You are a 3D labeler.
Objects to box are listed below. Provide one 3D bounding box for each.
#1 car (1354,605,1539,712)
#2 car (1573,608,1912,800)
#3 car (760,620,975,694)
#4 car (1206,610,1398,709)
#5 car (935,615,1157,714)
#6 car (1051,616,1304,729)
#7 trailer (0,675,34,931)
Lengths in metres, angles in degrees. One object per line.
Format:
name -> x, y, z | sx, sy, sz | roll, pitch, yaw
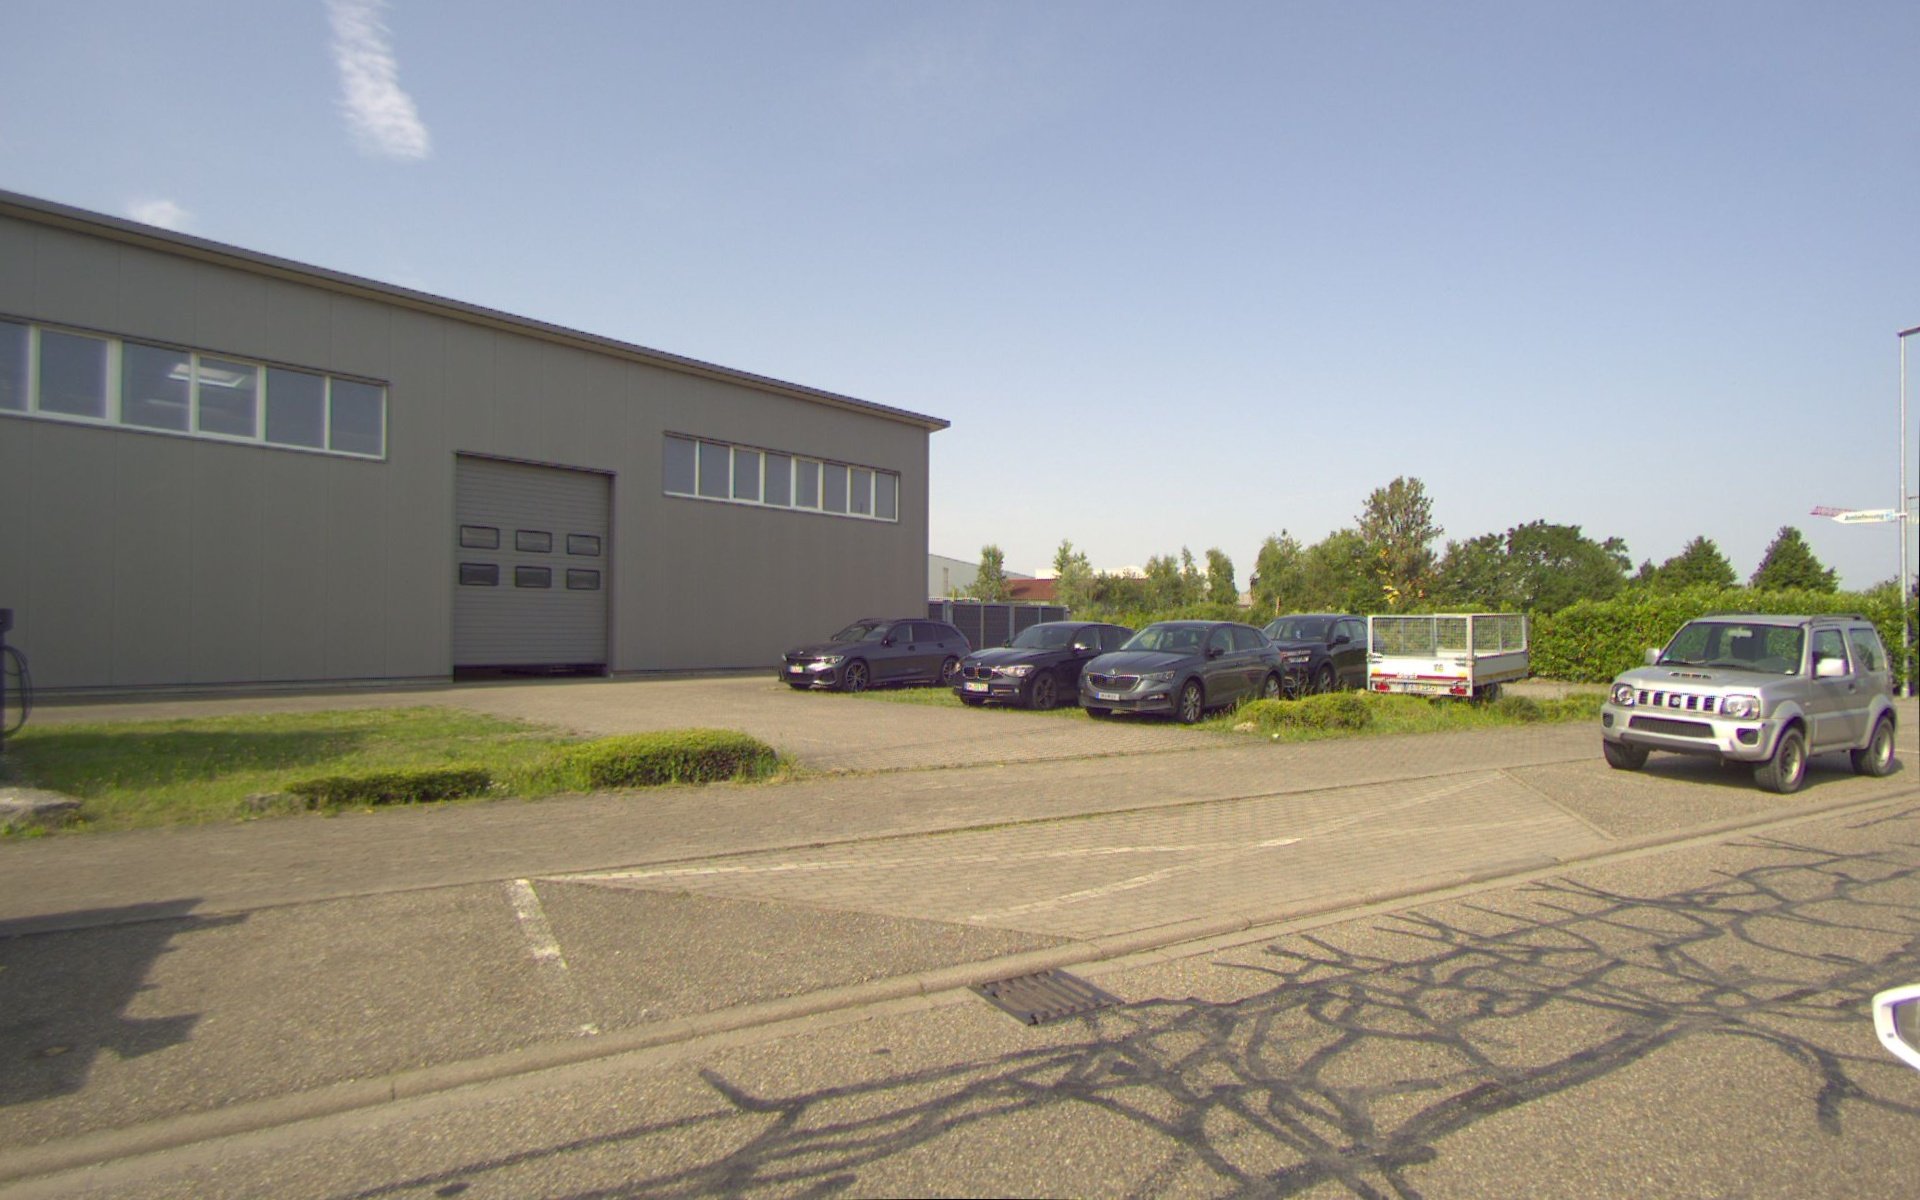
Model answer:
car -> 8.474, 0.944, 17.349 | 1.813, 1.593, 3.795 | 2, 0, 43
car -> 8.350, 0.975, 10.675 | 3.601, 1.673, 1.589 | 1, 1, -30
car -> -1.816, 1.120, 20.878 | 1.966, 1.342, 4.330 | 0, -1, 40
car -> 6.729, 1.079, 19.485 | 1.967, 1.680, 4.398 | 0, -1, 42
car -> 1.615, 1.038, 17.483 | 1.659, 1.496, 4.330 | 0, -1, 40
car -> 3.522, 1.033, 15.713 | 1.954, 1.496, 4.398 | 0, -1, 42
trailer -> -7.928, 0.835, 1.228 | 9.617, 1.088, 2.533 | 1, 0, -31
